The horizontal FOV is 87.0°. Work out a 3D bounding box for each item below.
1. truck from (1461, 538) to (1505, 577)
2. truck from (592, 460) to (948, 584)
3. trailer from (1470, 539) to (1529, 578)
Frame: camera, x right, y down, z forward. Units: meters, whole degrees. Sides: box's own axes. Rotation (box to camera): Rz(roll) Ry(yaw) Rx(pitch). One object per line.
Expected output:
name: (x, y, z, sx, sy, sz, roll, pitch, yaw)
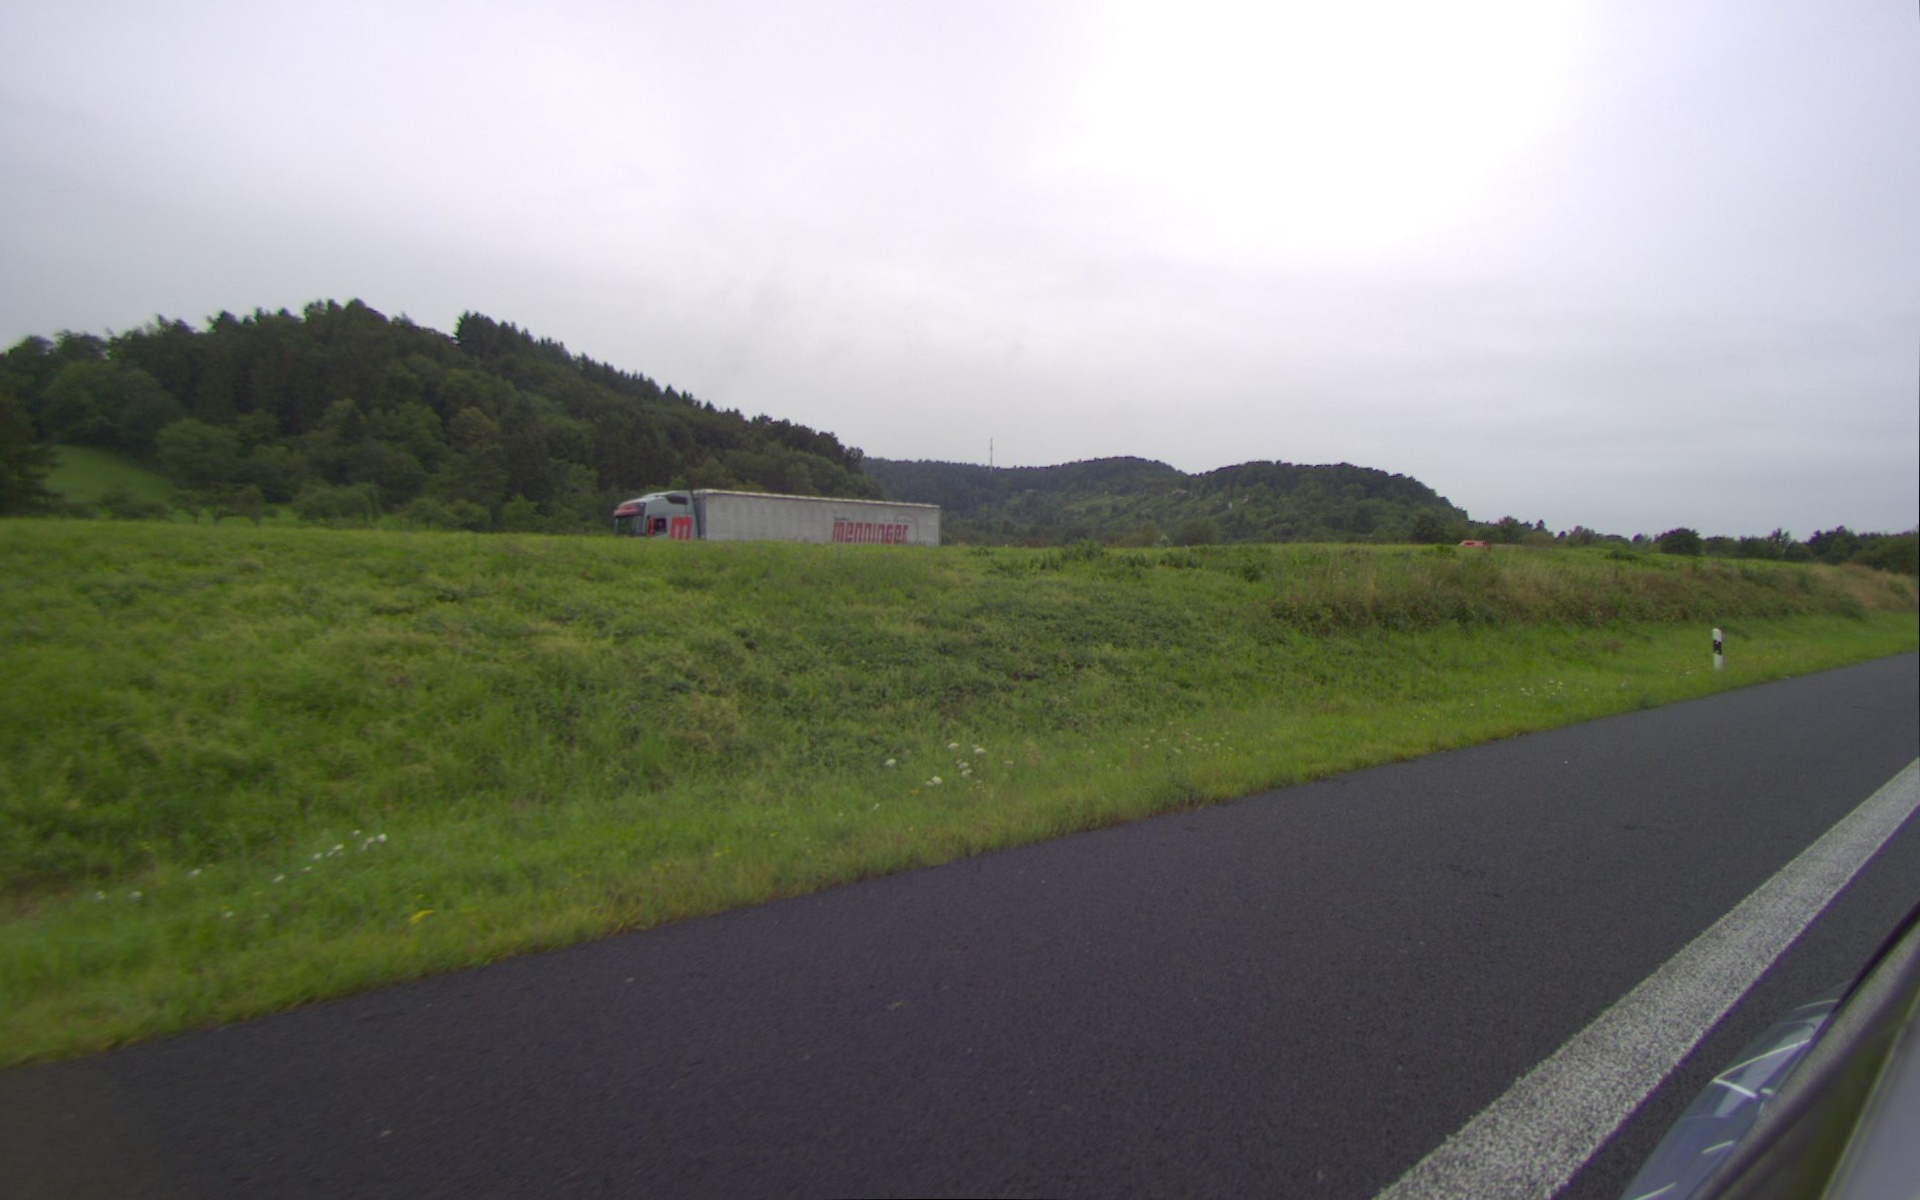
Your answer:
truck: (56.201, -4.518, 108.667, 5.831, 4.037, 2.509, 0, 0, -44)
truck: (-7.675, -3.044, 45.280, 3.821, 4.597, 16.619, 1, 1, 44)
trailer: (60.235, -4.538, 112.740, 2.491, 4.034, 12.206, -1, 0, 44)
